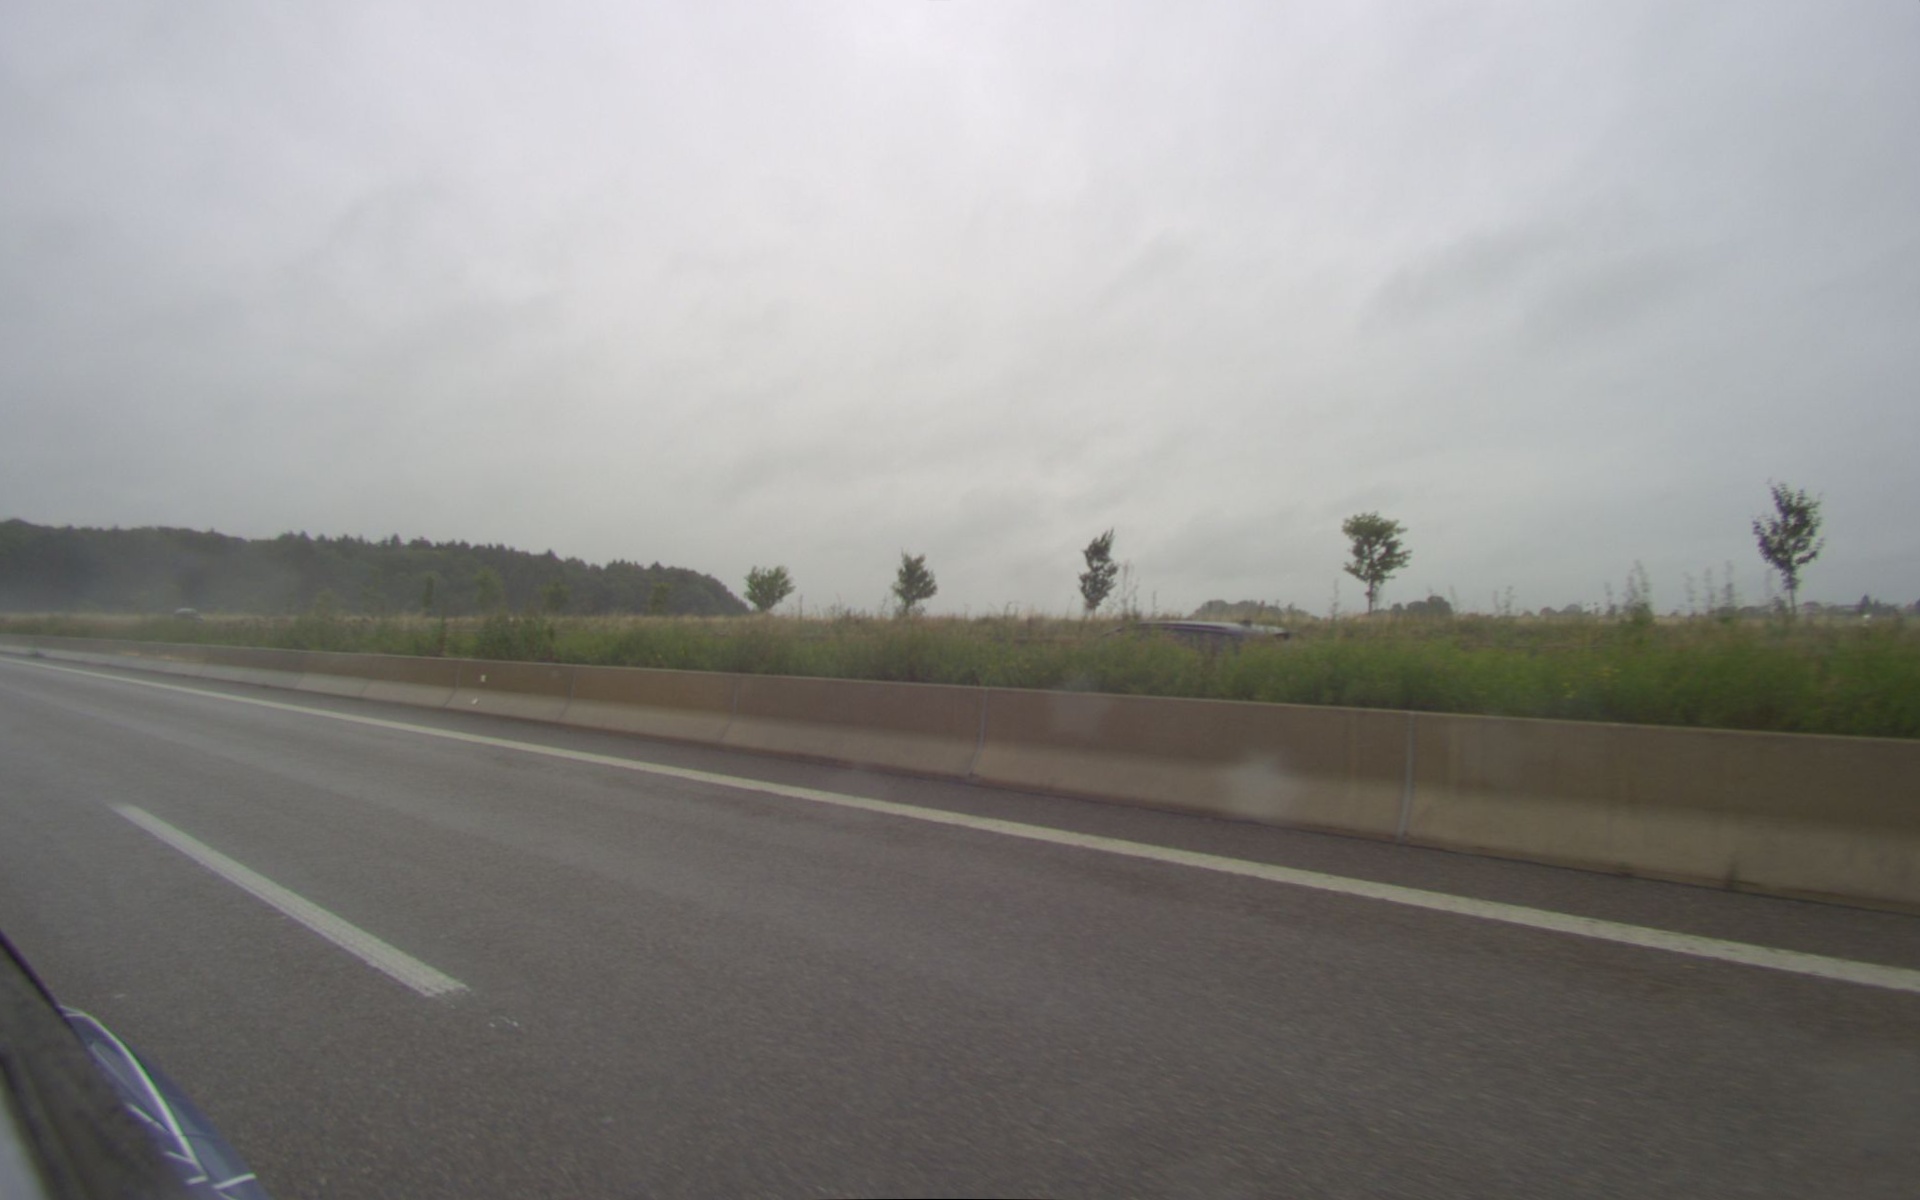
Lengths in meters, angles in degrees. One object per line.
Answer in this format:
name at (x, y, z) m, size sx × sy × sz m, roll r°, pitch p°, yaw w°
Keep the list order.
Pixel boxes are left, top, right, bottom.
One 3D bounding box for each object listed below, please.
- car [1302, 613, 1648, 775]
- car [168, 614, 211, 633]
car at (5.649, 0.933, 11.279) m, size 3.171 × 1.536 × 1.429 m, roll -1°, pitch -1°, yaw 41°
car at (-54.206, 1.652, 71.206) m, size 3.795 × 1.266 × 1.629 m, roll -1°, pitch -1°, yaw 40°
